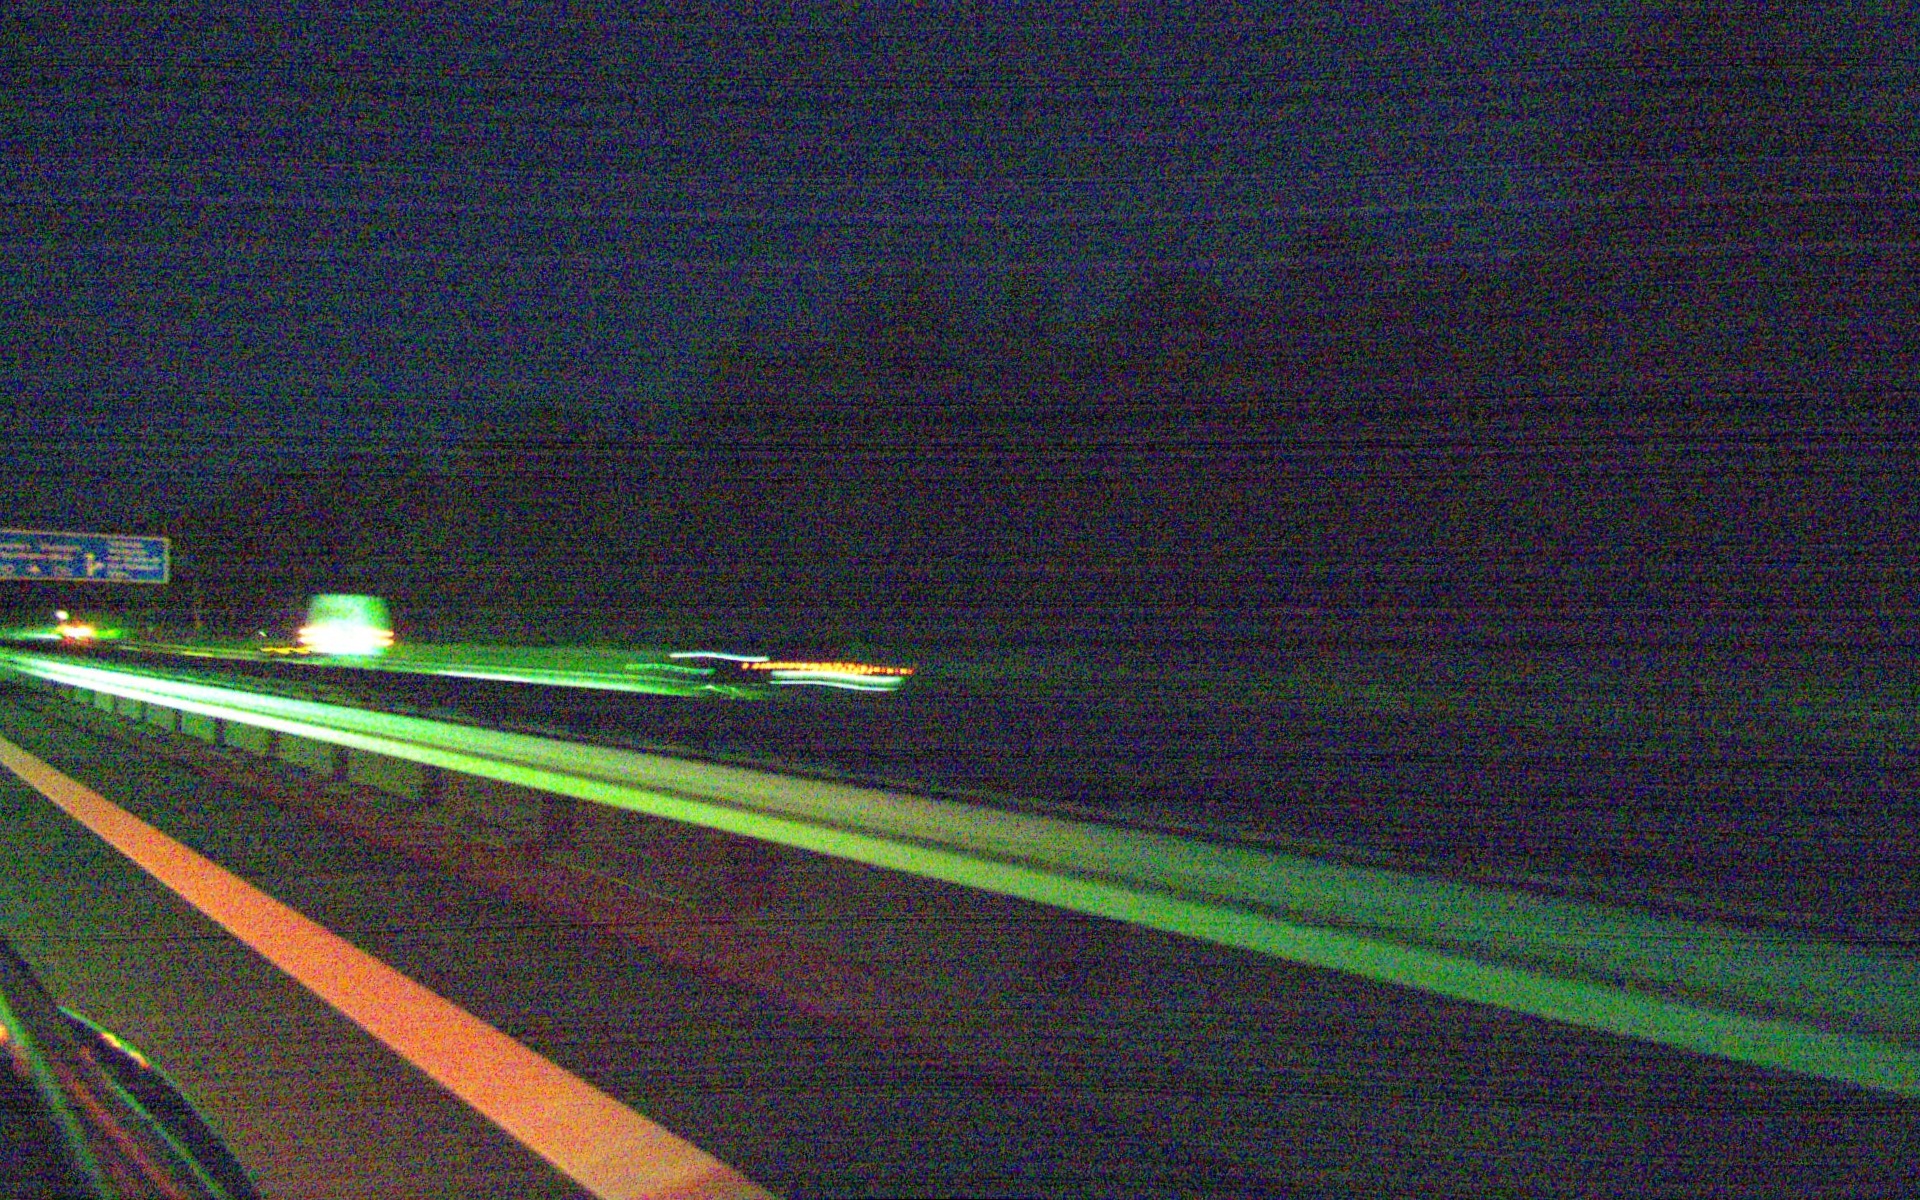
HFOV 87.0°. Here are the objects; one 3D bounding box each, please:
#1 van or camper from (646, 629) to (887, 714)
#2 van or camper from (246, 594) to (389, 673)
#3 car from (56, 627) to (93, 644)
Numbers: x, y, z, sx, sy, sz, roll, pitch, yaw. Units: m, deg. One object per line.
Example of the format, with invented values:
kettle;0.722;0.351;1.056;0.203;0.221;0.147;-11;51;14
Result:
van or camper;-3.865;1.343;19.623;5.099;1.452;1.761;-2;-5;41
van or camper;-24.207;1.253;37.976;7.773;2.651;2.305;-1;-4;41
car;-84.291;3.381;96.318;4.547;1.553;1.772;-2;-5;39
